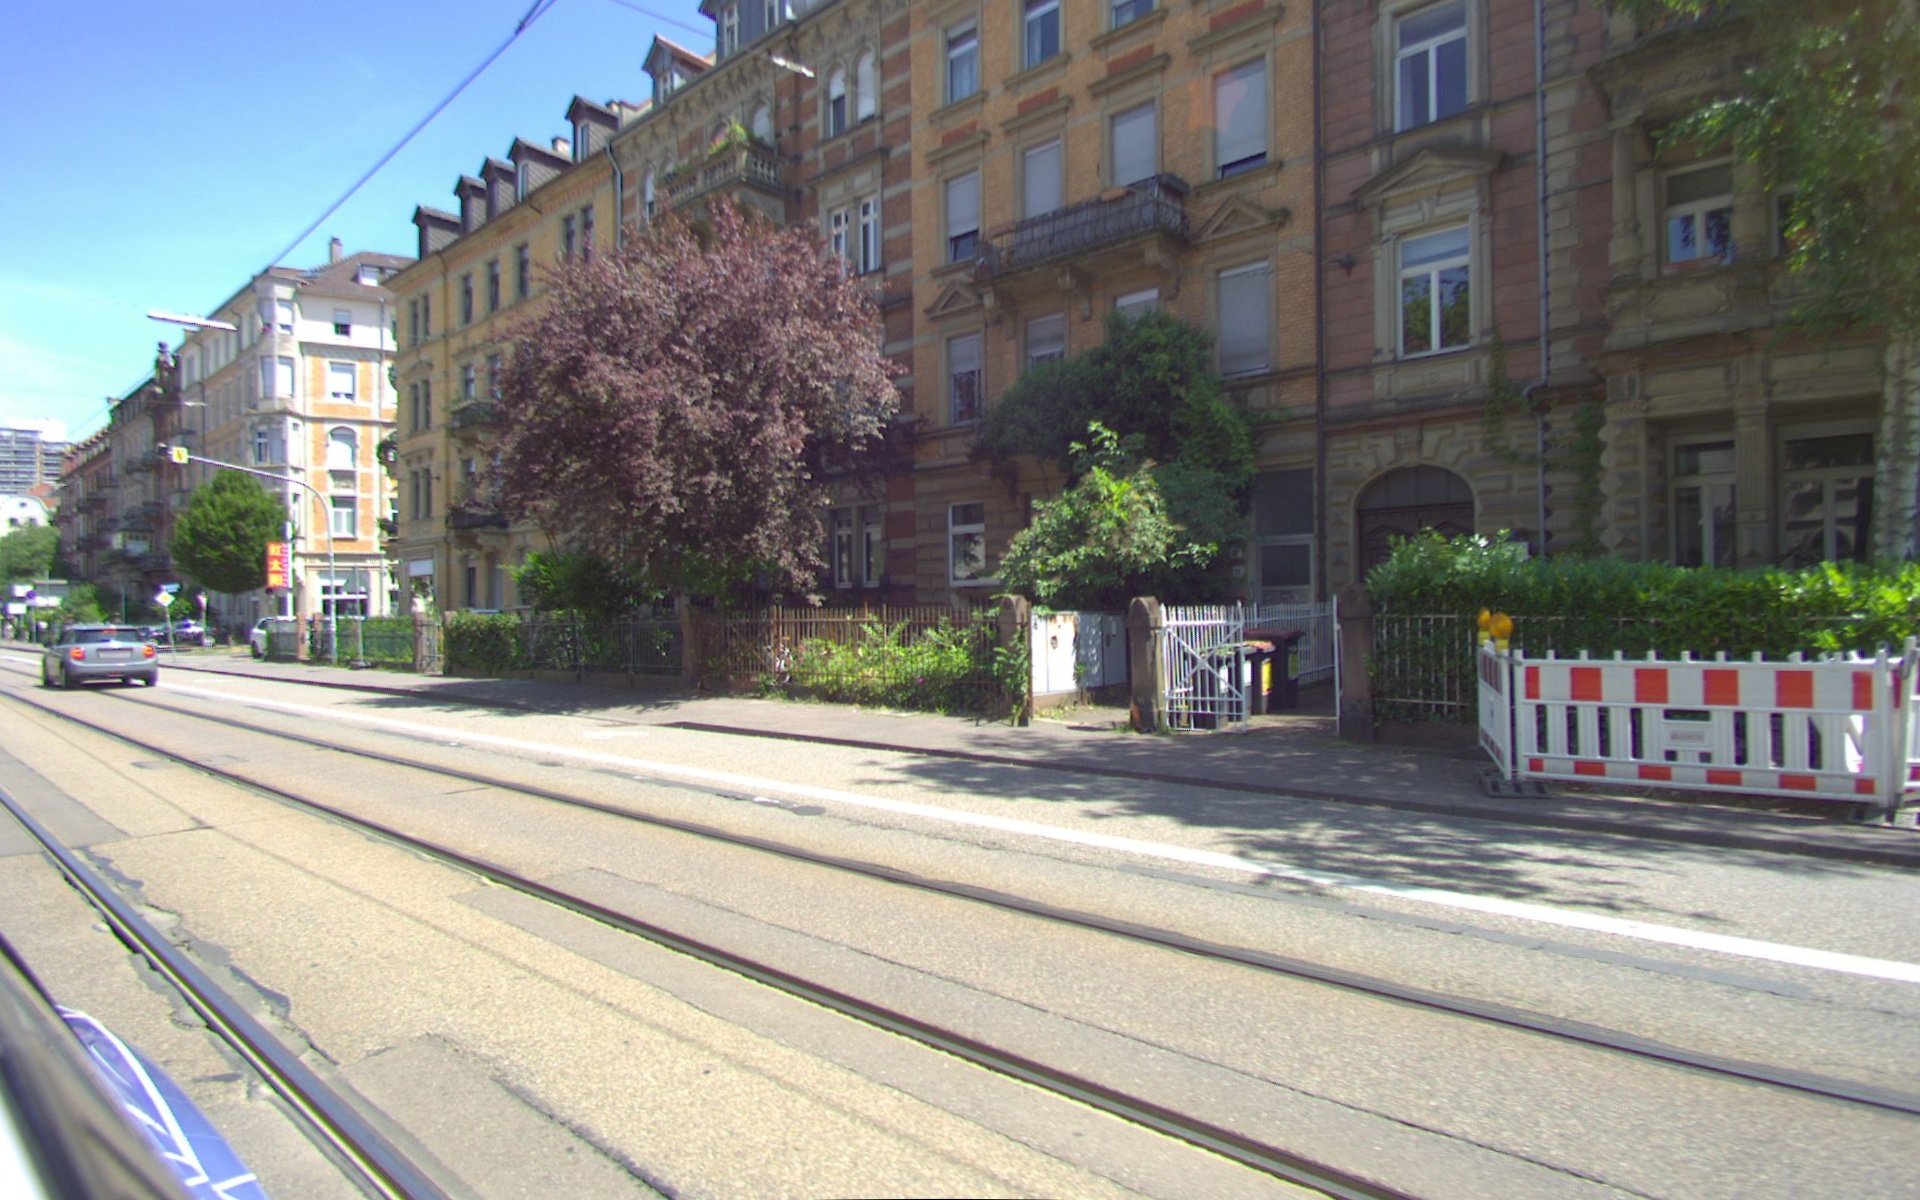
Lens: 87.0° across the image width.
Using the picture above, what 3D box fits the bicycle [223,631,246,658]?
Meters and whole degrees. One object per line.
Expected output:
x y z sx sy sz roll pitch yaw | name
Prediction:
-36.323 2.227 50.679 0.493 1.237 1.856 0 1 -21 | bicycle

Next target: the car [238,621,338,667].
-25.723 1.649 38.711 4.094 1.612 1.849 -1 1 36 | car

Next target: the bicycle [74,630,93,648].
-51.587 2.270 59.572 1.709 0.994 0.492 -2 3 40 | bicycle

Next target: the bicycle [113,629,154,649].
-44.570 2.089 54.583 1.685 1.044 0.551 -1 -1 -45 | bicycle

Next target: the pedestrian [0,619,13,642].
-71.774 2.280 76.058 0.861 1.713 1.014 -1 -1 -43 | pedestrian

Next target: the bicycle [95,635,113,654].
-46.276 2.399 54.725 1.709 0.991 0.434 -2 -1 40 | bicycle

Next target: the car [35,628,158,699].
-20.296 1.425 23.736 3.746 1.465 1.669 -1 0 41 | car

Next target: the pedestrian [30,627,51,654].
-61.975 2.705 68.228 1.138 1.735 0.842 -2 2 42 | pedestrian

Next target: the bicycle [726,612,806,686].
-3.565 0.887 18.707 0.507 1.196 1.599 -2 2 28 | bicycle

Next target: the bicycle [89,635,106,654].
-47.795 2.467 56.086 1.709 0.991 0.434 -2 -1 40 | bicycle

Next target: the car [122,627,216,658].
-42.305 2.244 54.151 1.713 1.439 3.720 0 1 41 | car

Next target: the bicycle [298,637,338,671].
-19.988 1.668 31.497 1.804 1.011 0.449 -1 0 38 | bicycle

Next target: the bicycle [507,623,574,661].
-11.949 1.184 28.849 0.454 1.011 1.785 -1 0 35 | bicycle
